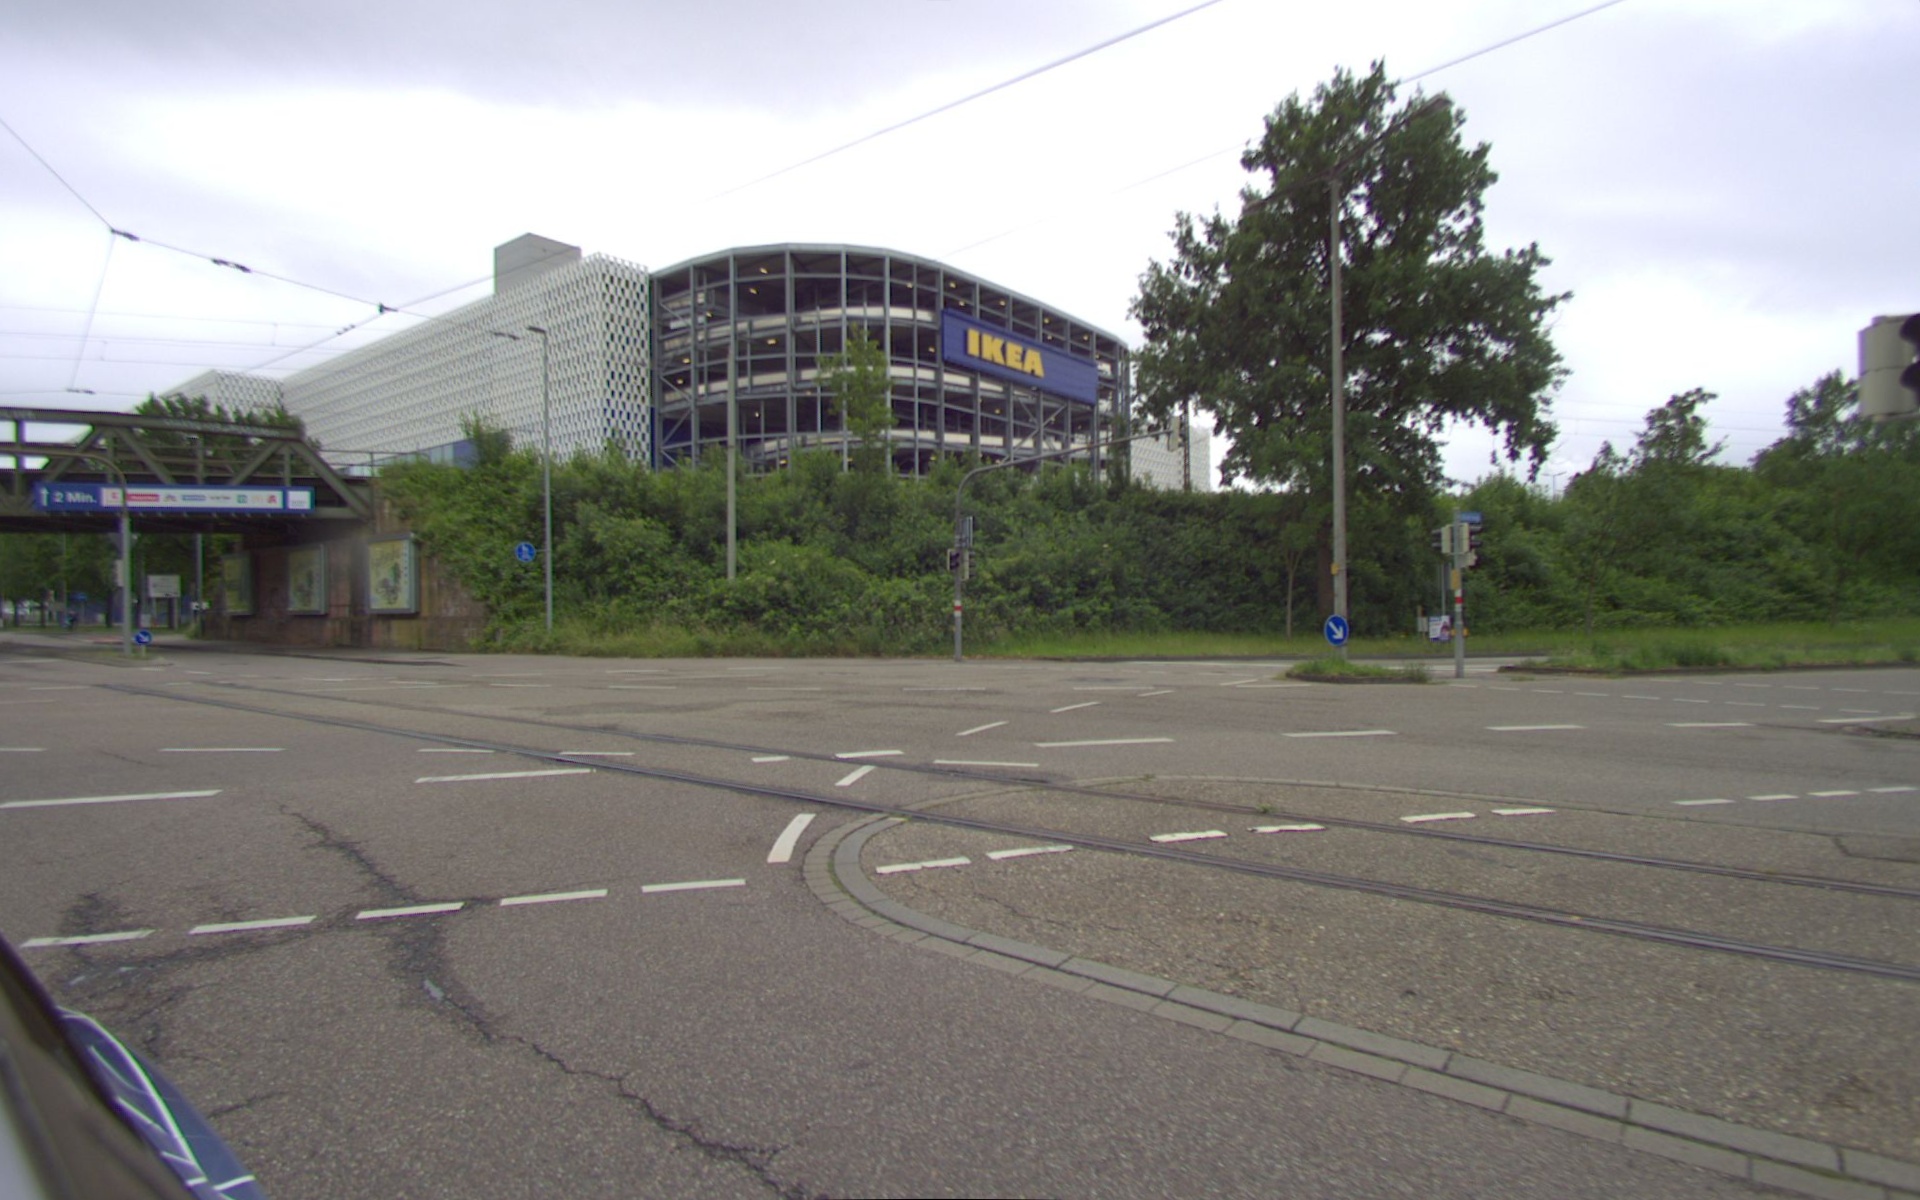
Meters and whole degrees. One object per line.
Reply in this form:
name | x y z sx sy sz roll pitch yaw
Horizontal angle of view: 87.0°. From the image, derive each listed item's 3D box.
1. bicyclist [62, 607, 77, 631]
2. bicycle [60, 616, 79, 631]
bicyclist | -71.446 1.545 81.168 1.019 1.888 0.695 0 2 39
bicycle | -71.404 1.866 81.147 2.368 1.195 0.706 0 2 39
